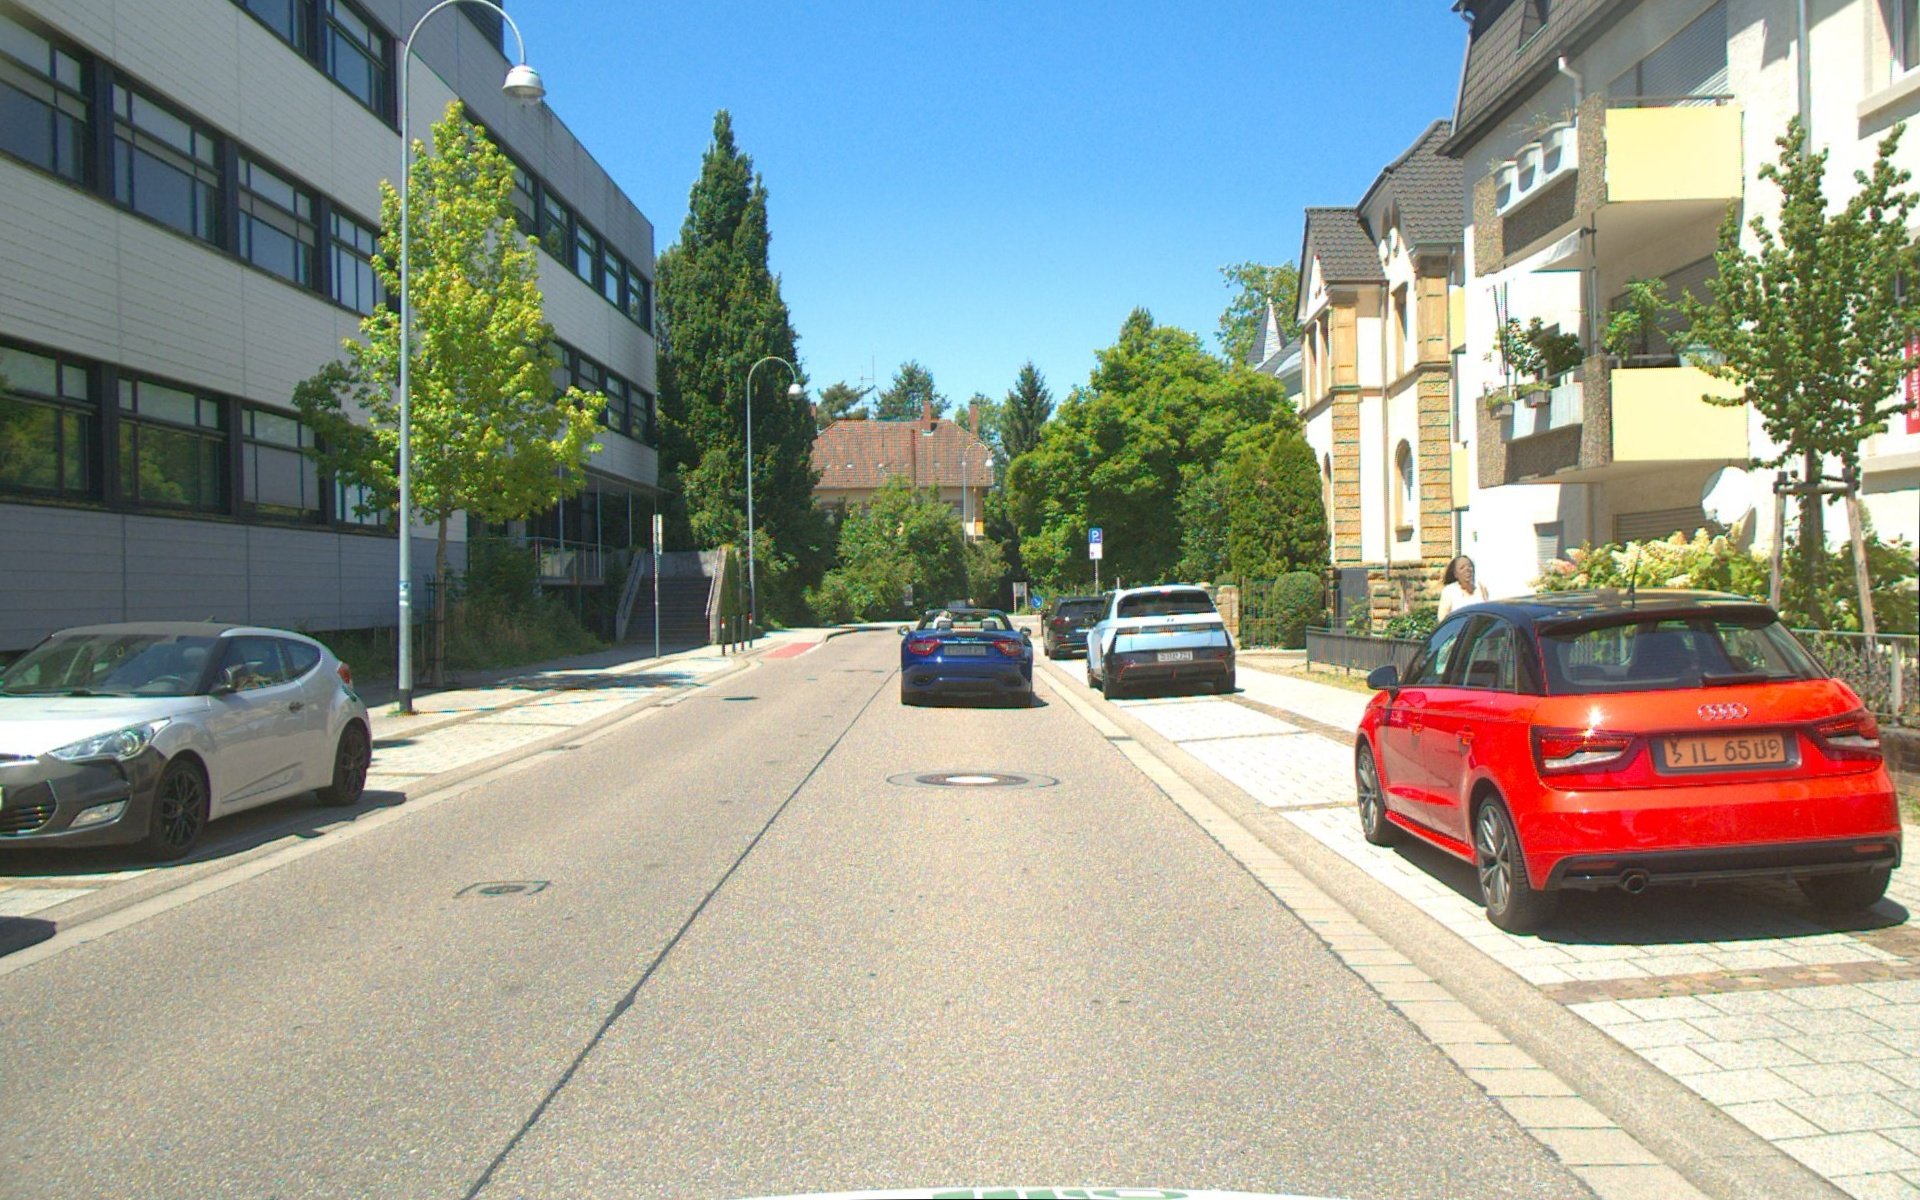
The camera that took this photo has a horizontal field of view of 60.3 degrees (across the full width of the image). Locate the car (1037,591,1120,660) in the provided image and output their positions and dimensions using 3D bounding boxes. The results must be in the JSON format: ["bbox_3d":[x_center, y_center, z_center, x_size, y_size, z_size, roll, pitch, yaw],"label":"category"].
[{"bbox_3d":[2.818,0.567,40.015,1.598,1.471,4.397,-4,0,0],"label":"car"}]

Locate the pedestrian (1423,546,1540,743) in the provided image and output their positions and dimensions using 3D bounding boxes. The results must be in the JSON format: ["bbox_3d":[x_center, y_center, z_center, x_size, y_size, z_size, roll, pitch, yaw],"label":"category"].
[{"bbox_3d":[4.709,0.391,14.973,0.725,1.698,0.705,-4,0,-2],"label":"pedestrian"}]

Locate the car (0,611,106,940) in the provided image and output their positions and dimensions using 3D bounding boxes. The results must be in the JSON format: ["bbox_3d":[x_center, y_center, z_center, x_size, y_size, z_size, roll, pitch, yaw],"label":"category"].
[{"bbox_3d":[-5.409,0.827,6.576,1.785,1.538,4.289,0,0,0],"label":"car"}]

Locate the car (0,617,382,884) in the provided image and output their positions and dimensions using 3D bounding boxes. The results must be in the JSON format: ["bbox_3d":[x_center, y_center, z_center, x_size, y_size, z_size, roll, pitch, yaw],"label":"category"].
[{"bbox_3d":[-5.522,0.869,11.277,1.712,1.434,3.933,0,0,1],"label":"car"}]

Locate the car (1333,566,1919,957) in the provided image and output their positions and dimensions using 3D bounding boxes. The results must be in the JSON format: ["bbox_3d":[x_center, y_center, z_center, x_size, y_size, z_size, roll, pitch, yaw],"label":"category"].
[{"bbox_3d":[3.160,0.637,8.557,1.570,1.465,3.853,-4,0,1],"label":"car"}]

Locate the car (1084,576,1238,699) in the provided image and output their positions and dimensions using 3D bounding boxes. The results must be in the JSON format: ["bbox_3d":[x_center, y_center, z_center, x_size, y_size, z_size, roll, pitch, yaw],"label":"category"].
[{"bbox_3d":[2.996,0.518,25.510,1.806,1.647,4.427,-3,0,0],"label":"car"}]

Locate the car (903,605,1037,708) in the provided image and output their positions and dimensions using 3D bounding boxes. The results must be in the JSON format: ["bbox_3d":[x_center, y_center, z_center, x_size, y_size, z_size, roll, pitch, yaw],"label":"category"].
[{"bbox_3d":[0.126,0.765,24.568,1.789,1.360,4.700,1,0,0],"label":"car"}]
